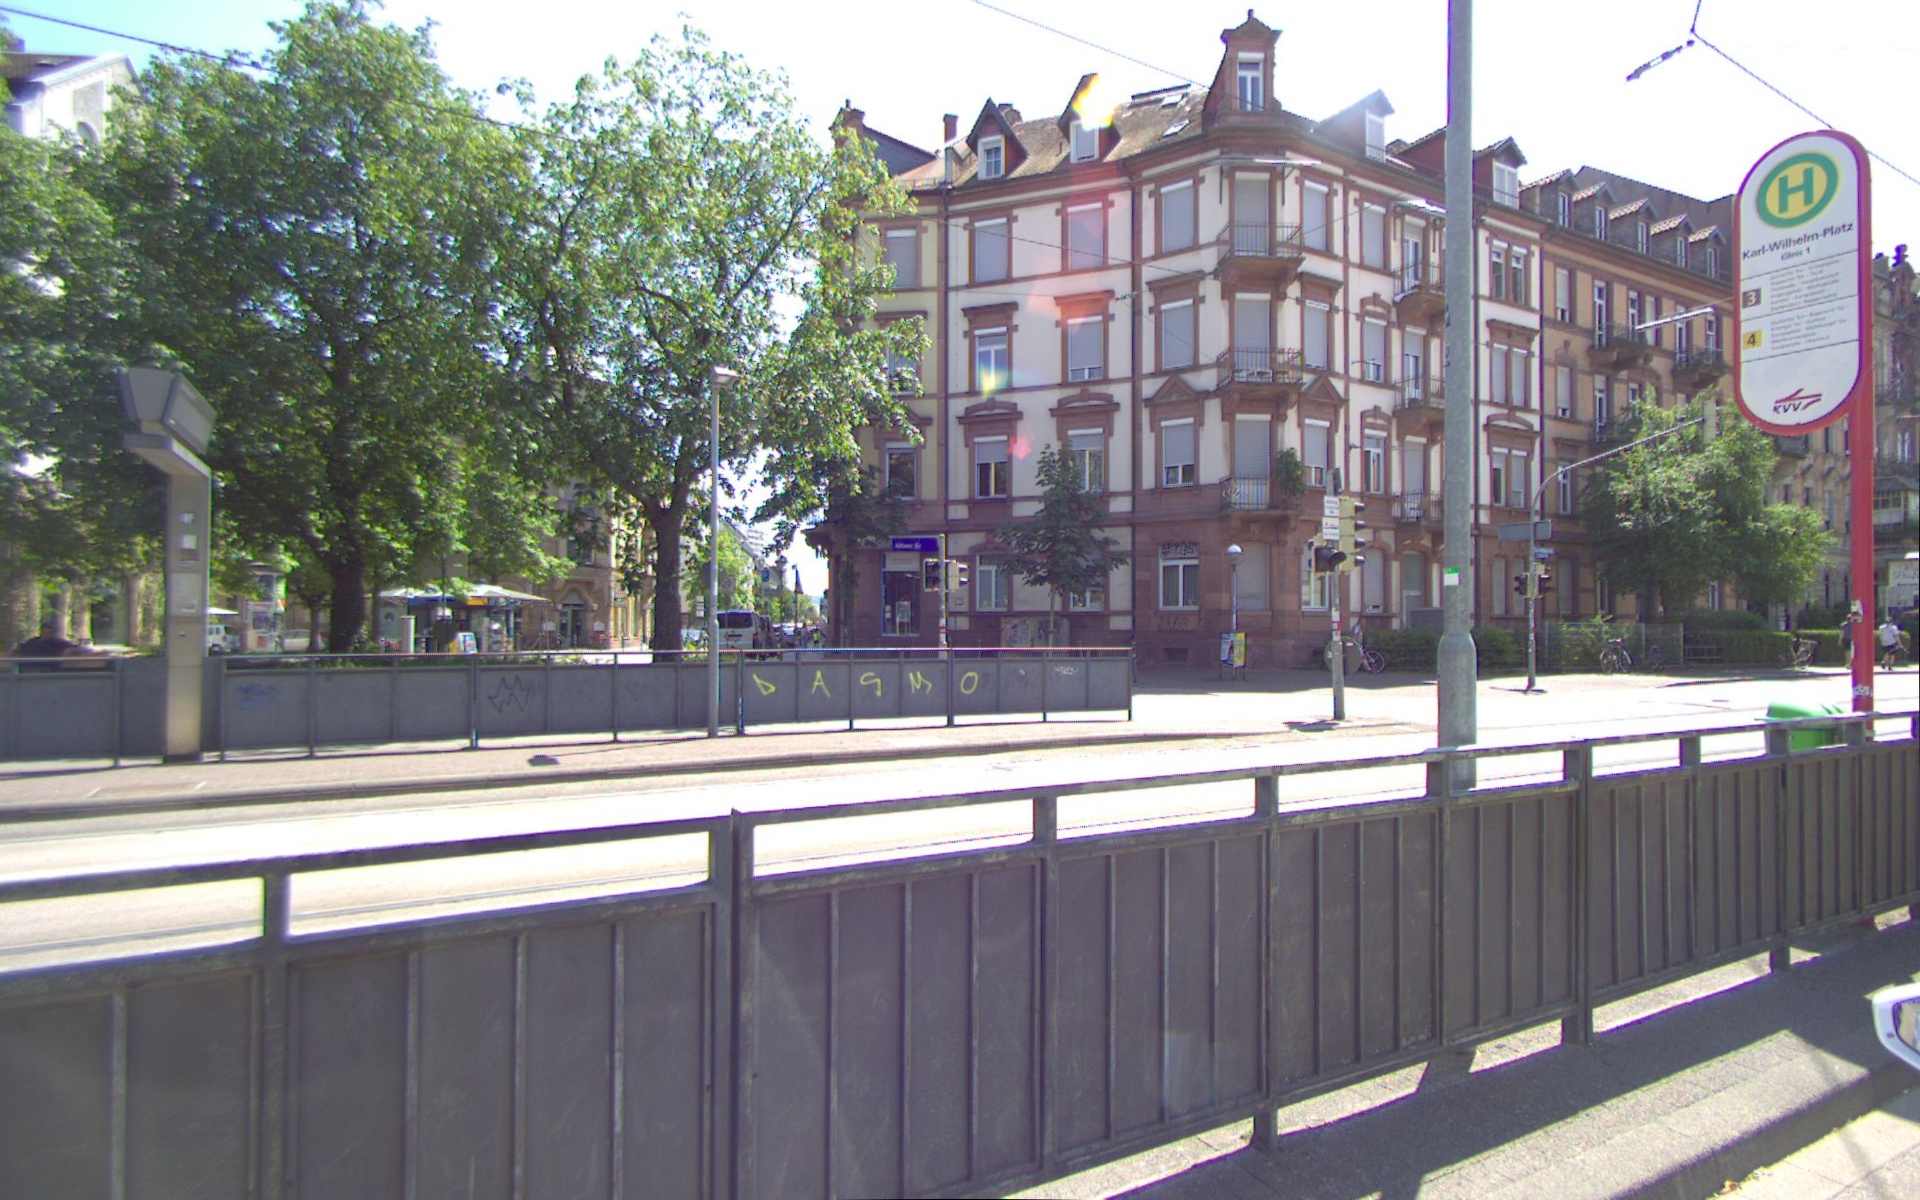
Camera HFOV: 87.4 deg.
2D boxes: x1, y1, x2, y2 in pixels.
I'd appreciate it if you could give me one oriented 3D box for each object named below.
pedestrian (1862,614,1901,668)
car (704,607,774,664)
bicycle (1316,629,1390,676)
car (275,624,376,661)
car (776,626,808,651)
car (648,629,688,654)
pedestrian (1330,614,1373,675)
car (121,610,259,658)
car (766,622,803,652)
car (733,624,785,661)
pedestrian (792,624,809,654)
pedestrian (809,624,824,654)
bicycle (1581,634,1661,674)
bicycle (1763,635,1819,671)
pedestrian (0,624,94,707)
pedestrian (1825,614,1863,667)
[{"bbox_3d":[32.329,1.435,35.238,0.864,1.847,0.811,0,1,-34],"label":"pedestrian"},{"bbox_3d":[-8.327,1.295,38.220,1.962,1.970,3.998,2,0,-4],"label":"car"},{"bbox_3d":[11.665,1.557,29.864,1.923,1.312,0.564,2,0,11],"label":"bicycle"},{"bbox_3d":[-32.074,2.152,50.896,3.920,1.730,1.761,2,0,-14],"label":"car"},{"bbox_3d":[-12.479,2.839,74.761,1.962,1.617,3.998,2,0,-4],"label":"car"},{"bbox_3d":[-20.656,2.910,71.168,1.846,1.617,3.998,2,0,-4],"label":"car"},{"bbox_3d":[11.261,1.279,28.900,1.040,1.712,0.723,0,-1,12],"label":"pedestrian"},{"bbox_3d":[-31.188,1.360,40.820,3.932,1.814,1.994,2,0,-14],"label":"car"},{"bbox_3d":[-10.370,2.172,59.457,1.684,1.617,3.998,2,0,-4],"label":"car"},{"bbox_3d":[-9.624,2.006,48.292,1.893,1.541,3.998,2,0,-4],"label":"car"},{"bbox_3d":[-8.482,2.070,53.432,0.790,1.632,0.731,0,-1,-4],"label":"pedestrian"},{"bbox_3d":[-7.626,2.070,53.367,0.742,1.632,0.688,0,-1,-4],"label":"pedestrian"},{"bbox_3d":[20.228,1.645,30.716,2.742,1.151,0.932,2,0,-31],"label":"bicycle"},{"bbox_3d":[28.531,1.804,34.478,2.750,1.151,0.930,2,0,-39],"label":"bicycle"},{"bbox_3d":[-14.661,1.040,16.109,0.925,1.261,0.860,2,0,-24],"label":"pedestrian"},{"bbox_3d":[31.578,1.428,35.884,0.864,1.847,0.811,0,1,-34],"label":"pedestrian"}]
